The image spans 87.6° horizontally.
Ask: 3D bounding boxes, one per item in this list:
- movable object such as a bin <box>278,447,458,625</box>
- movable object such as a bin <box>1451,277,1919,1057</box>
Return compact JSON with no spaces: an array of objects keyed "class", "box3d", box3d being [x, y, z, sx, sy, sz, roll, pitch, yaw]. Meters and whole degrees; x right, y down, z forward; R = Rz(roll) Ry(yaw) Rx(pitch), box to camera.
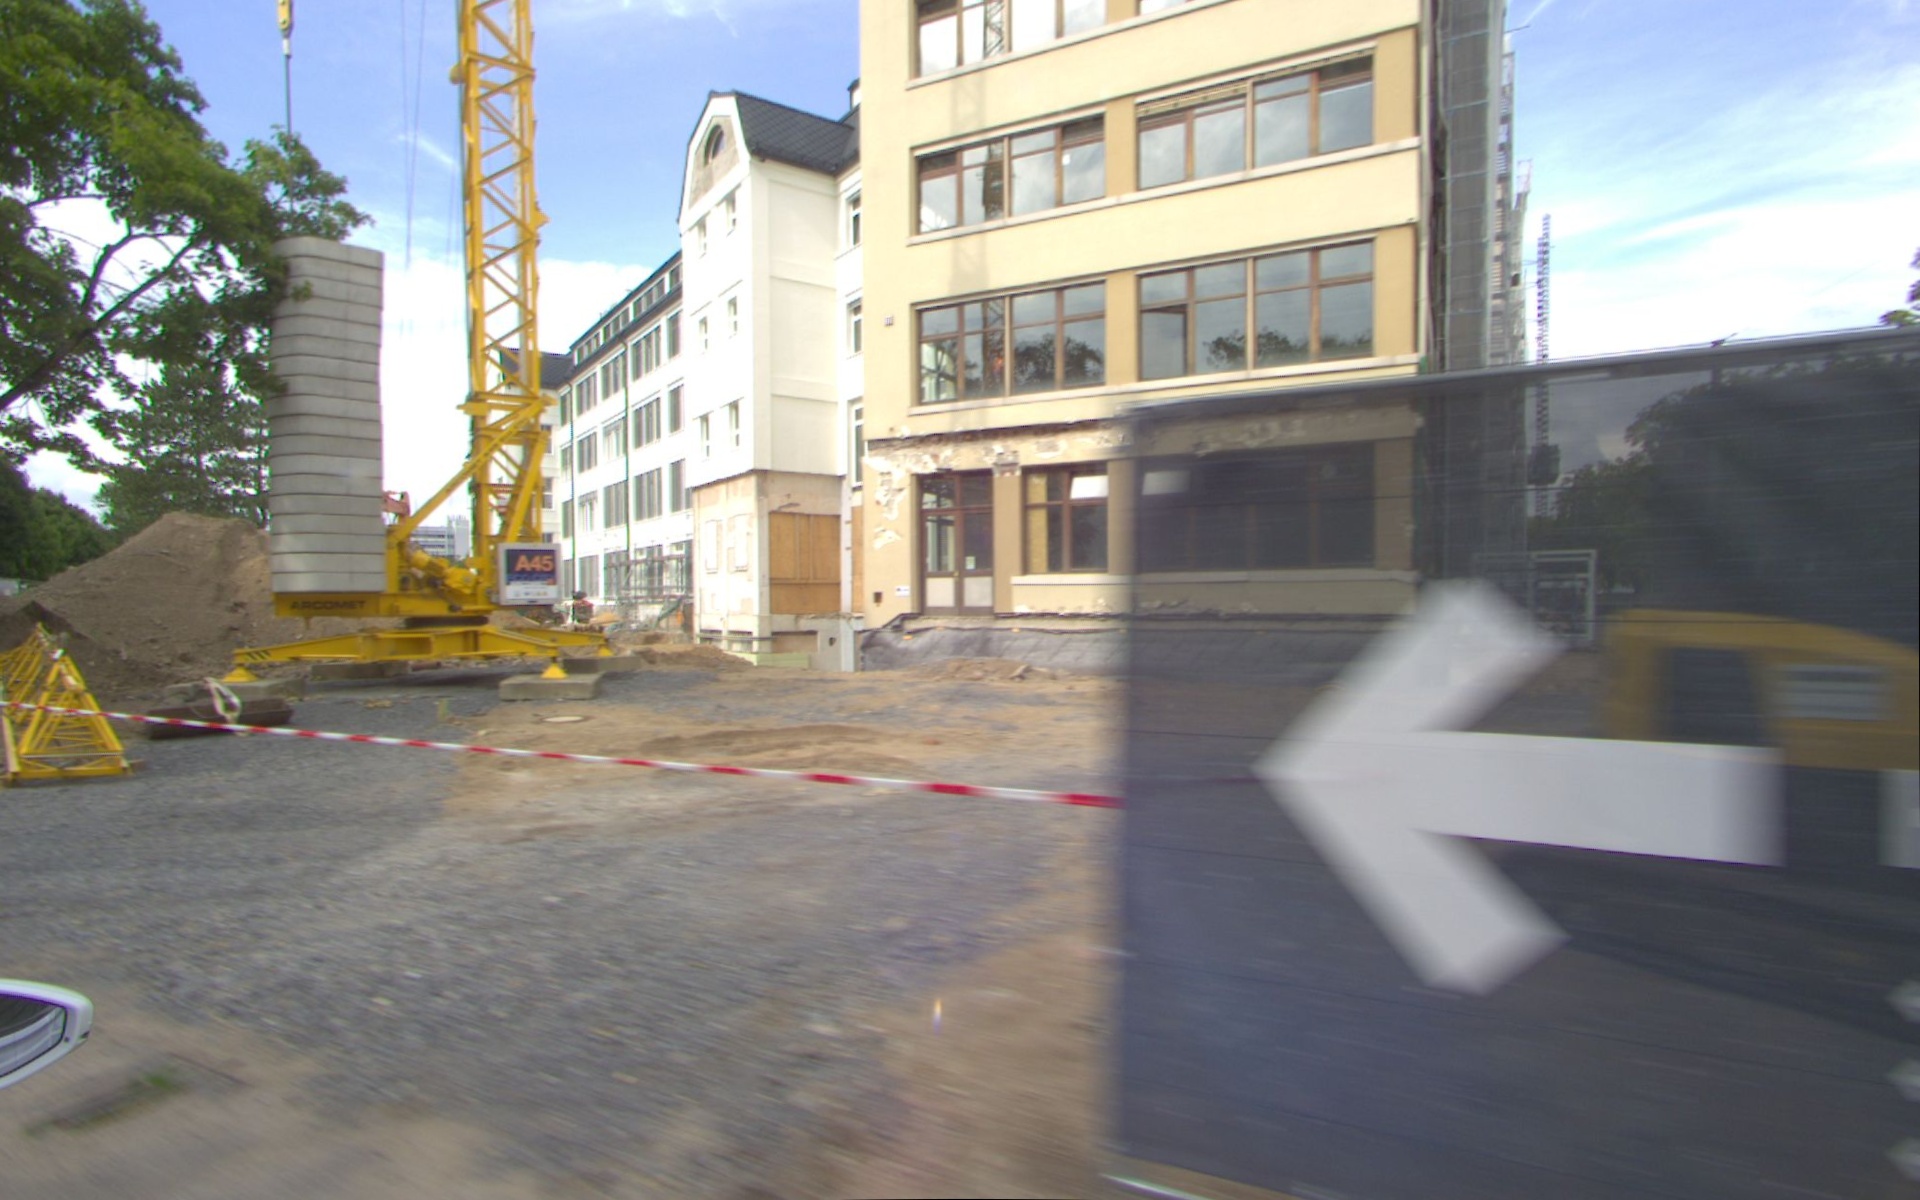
[{"class":"movable object such as a bin","box3d":[-25.562,-2.415,44.102,3.787,6.758,10.972,0,0,-14]},{"class":"movable object such as a bin","box3d":[3.904,0.225,4.080,3.021,2.475,2.481,0,0,37]}]
